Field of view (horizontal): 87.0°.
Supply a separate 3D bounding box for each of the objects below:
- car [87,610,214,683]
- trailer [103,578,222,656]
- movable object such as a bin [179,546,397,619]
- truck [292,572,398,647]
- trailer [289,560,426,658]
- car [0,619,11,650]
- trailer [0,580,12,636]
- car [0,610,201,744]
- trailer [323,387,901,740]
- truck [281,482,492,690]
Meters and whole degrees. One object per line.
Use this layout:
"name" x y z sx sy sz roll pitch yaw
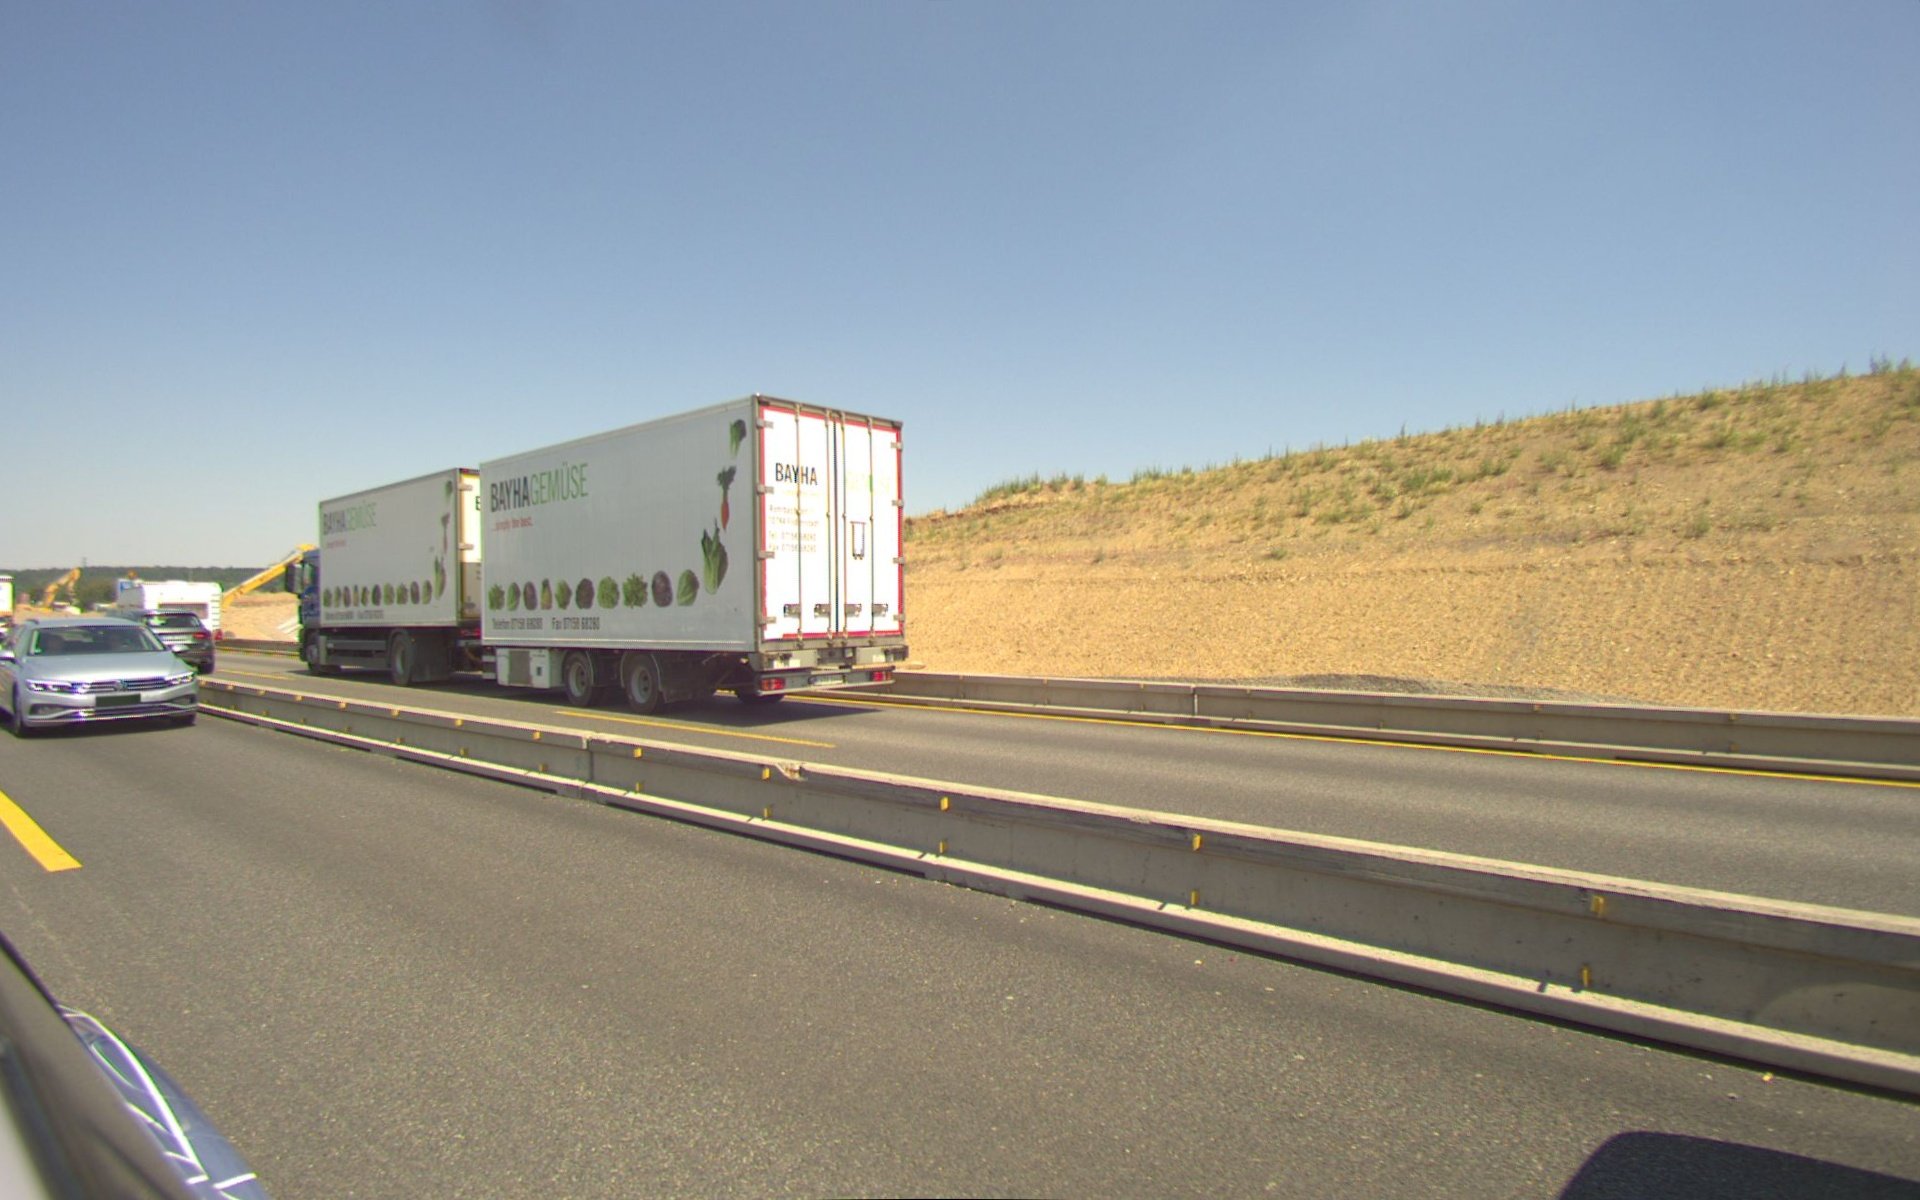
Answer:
"car" -20.374 1.086 25.412 4.591 1.625 1.671 0 0 41
"trailer" -30.335 0.654 38.406 6.752 2.707 2.287 -1 -2 41
"movable object such as a bin" -67.122 -1.739 102.015 3.386 6.823 18.034 0 0 40
"truck" -26.004 0.369 42.729 5.062 2.986 2.550 0 0 43
"trailer" -27.779 0.332 47.134 2.754 4.129 8.389 -1 0 -11
"car" -48.865 1.726 50.588 3.974 1.513 1.671 0 0 41
"trailer" -75.241 0.581 77.247 13.645 4.125 2.825 0 -1 41
"car" -11.981 0.938 13.786 4.098 1.519 1.781 -1 0 41
"trailer" -7.426 -0.314 18.158 15.527 4.211 2.476 -1 -2 42
"truck" -13.404 -0.220 23.461 5.910 4.230 2.465 -1 -2 42
